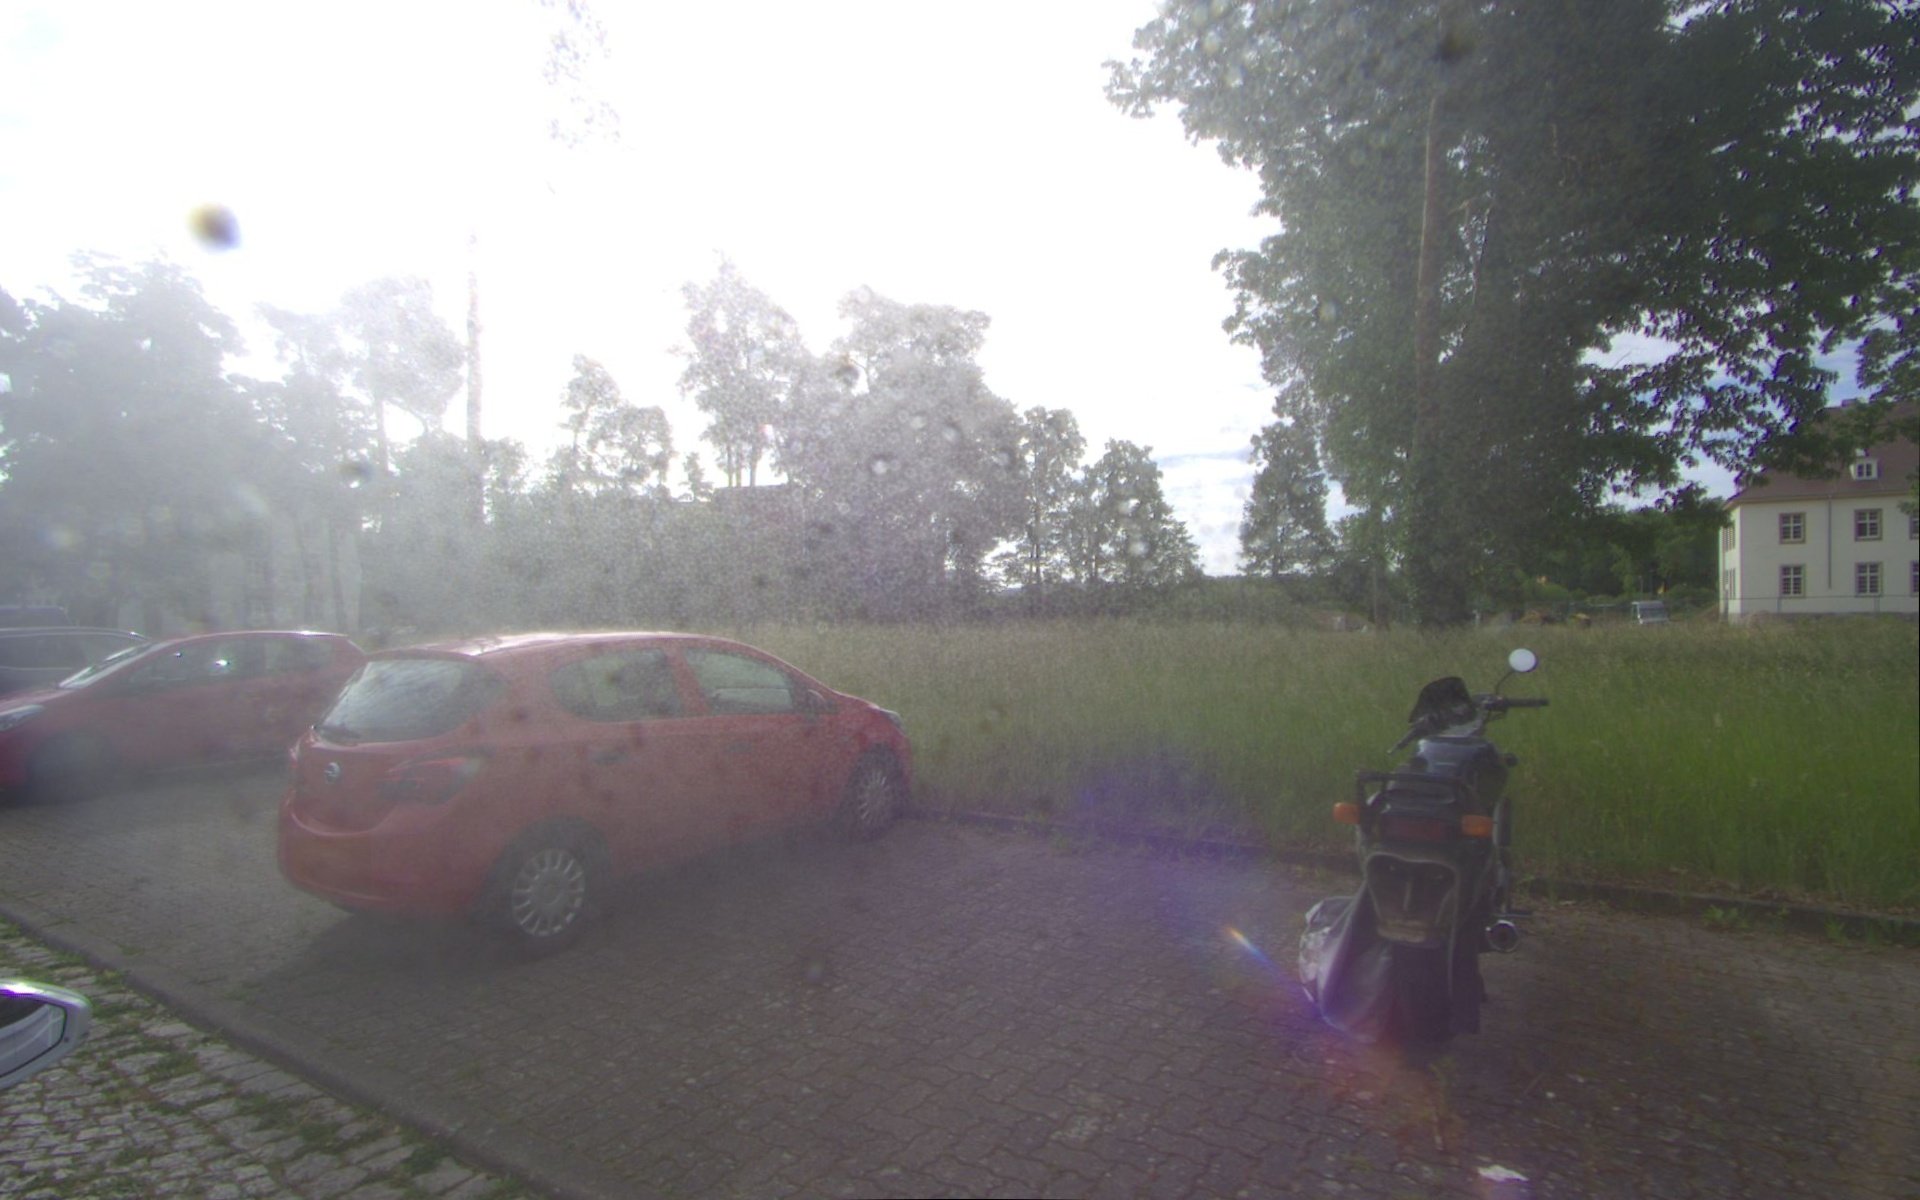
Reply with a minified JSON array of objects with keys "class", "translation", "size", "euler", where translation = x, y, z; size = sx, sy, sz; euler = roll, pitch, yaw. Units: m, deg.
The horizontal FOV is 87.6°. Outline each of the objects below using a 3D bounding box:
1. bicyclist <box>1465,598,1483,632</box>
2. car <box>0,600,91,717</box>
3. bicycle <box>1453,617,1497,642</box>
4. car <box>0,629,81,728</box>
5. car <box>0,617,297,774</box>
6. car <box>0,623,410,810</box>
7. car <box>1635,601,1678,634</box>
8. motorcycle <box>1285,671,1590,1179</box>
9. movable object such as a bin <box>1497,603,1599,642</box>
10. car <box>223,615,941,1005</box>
[{"class":"bicyclist","translation":[26.300,0.782,51.204],"size":[0.761,1.717,0.724],"euler":[-1,-1,31]},{"class":"car","translation":[-17.744,1.041,16.541],"size":[1.903,1.980,4.745],"euler":[-1,0,31]},{"class":"bicycle","translation":[26.315,1.505,51.169],"size":[1.905,1.244,0.722],"euler":[-1,-1,33]},{"class":"car","translation":[-15.749,1.242,14.916],"size":[1.591,1.469,3.665],"euler":[-1,0,31]},{"class":"car","translation":[-10.357,1.047,11.675],"size":[1.725,1.573,4.021],"euler":[-1,0,31]},{"class":"car","translation":[-8.081,1.055,10.395],"size":[1.727,1.479,3.782],"euler":[-1,0,33]},{"class":"car","translation":[52.664,1.363,75.782],"size":[1.886,2.378,4.583],"euler":[-1,-2,25]},{"class":"motorcycle","translation":[1.932,0.959,3.892],"size":[0.783,1.201,2.323],"euler":[-1,0,30]},{"class":"movable object such as a bin","translation":[42.021,1.646,71.749],"size":[2.147,2.689,5.941],"euler":[0,-2,-33]},{"class":"car","translation":[-1.910,0.898,6.142],"size":[1.754,1.479,3.816],"euler":[-1,0,33]}]
